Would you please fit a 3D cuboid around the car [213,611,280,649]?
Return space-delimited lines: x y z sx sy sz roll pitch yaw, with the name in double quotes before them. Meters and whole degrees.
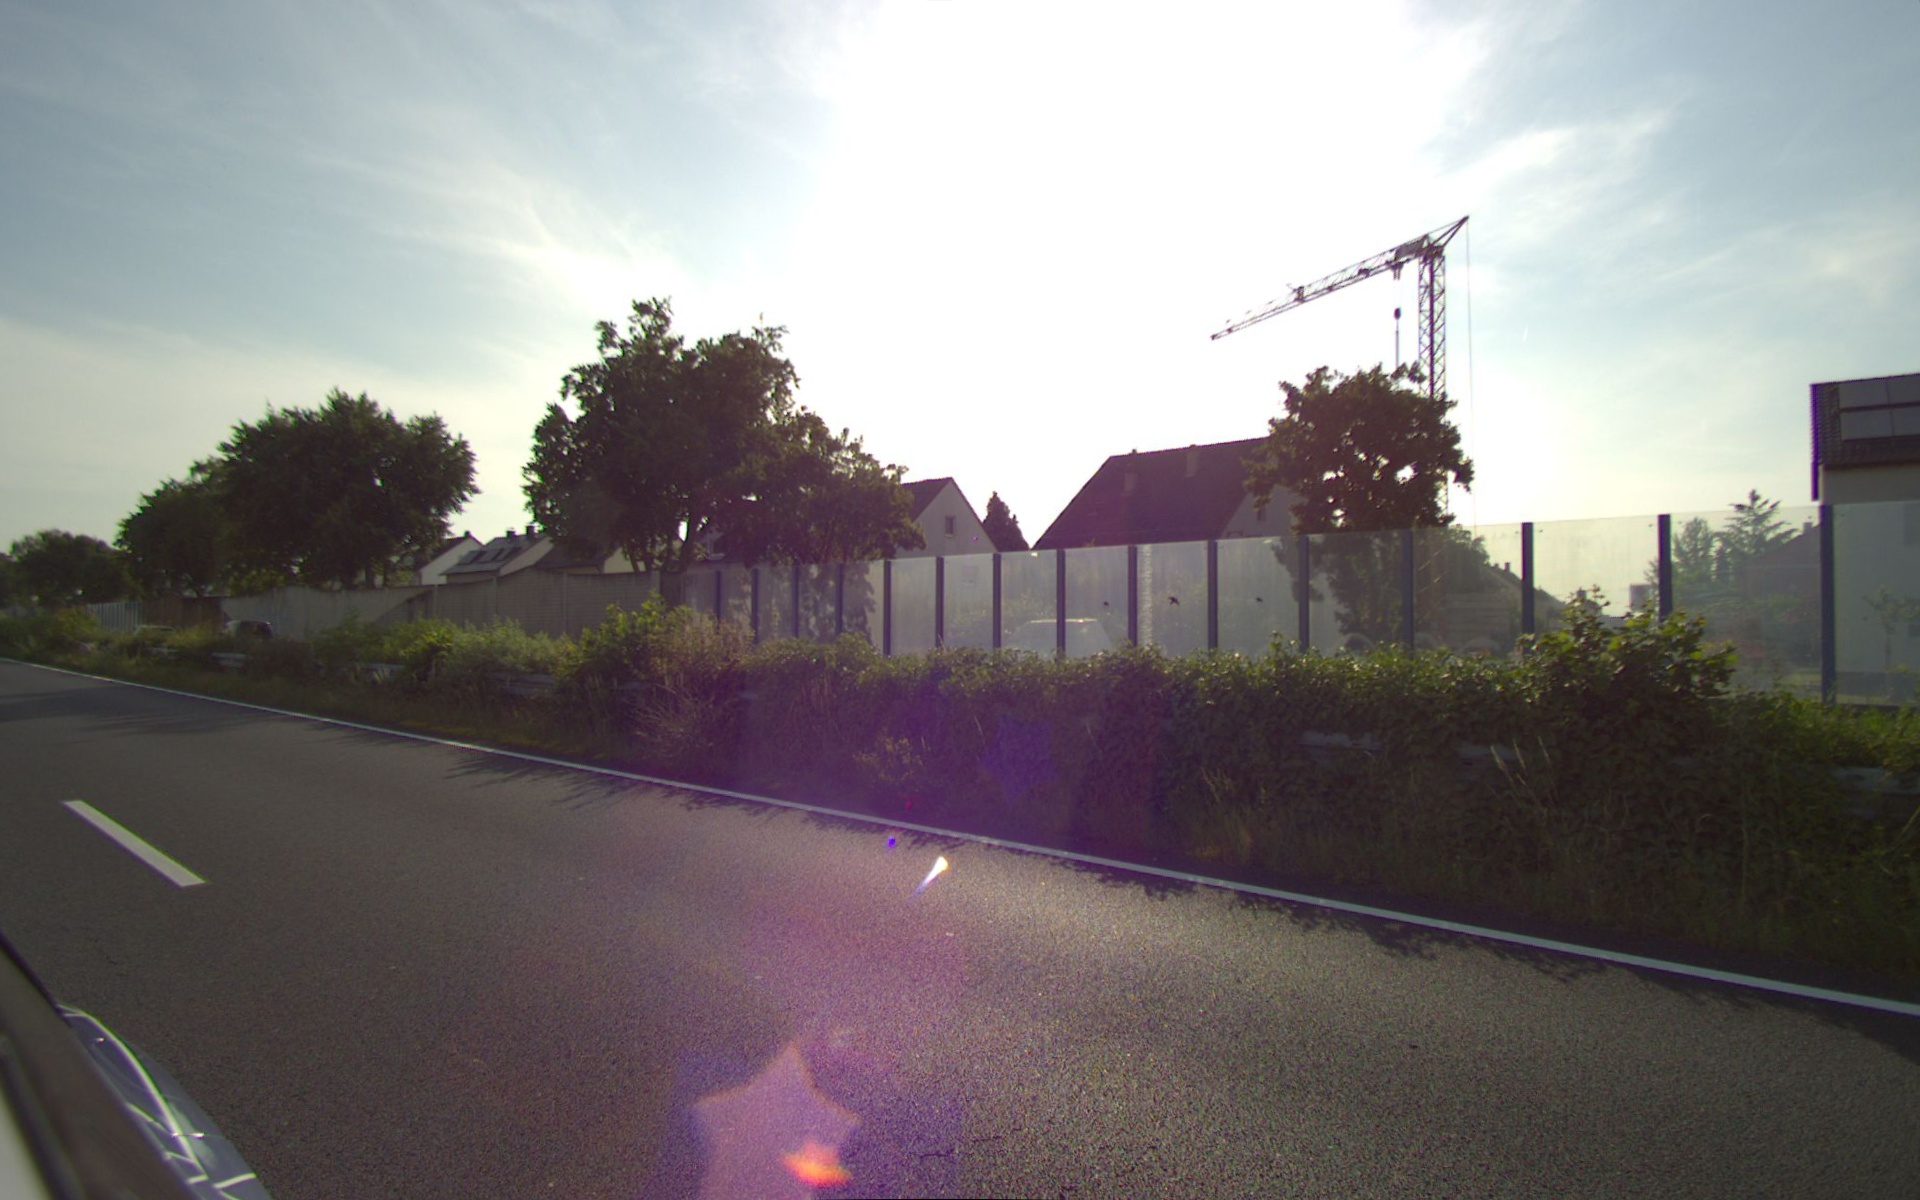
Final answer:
"car" -36.141 1.471 51.228 4.298 1.808 1.818 -1 0 41

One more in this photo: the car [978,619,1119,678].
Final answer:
"car" 3.106 1.681 36.204 4.912 1.933 1.767 -1 0 41
